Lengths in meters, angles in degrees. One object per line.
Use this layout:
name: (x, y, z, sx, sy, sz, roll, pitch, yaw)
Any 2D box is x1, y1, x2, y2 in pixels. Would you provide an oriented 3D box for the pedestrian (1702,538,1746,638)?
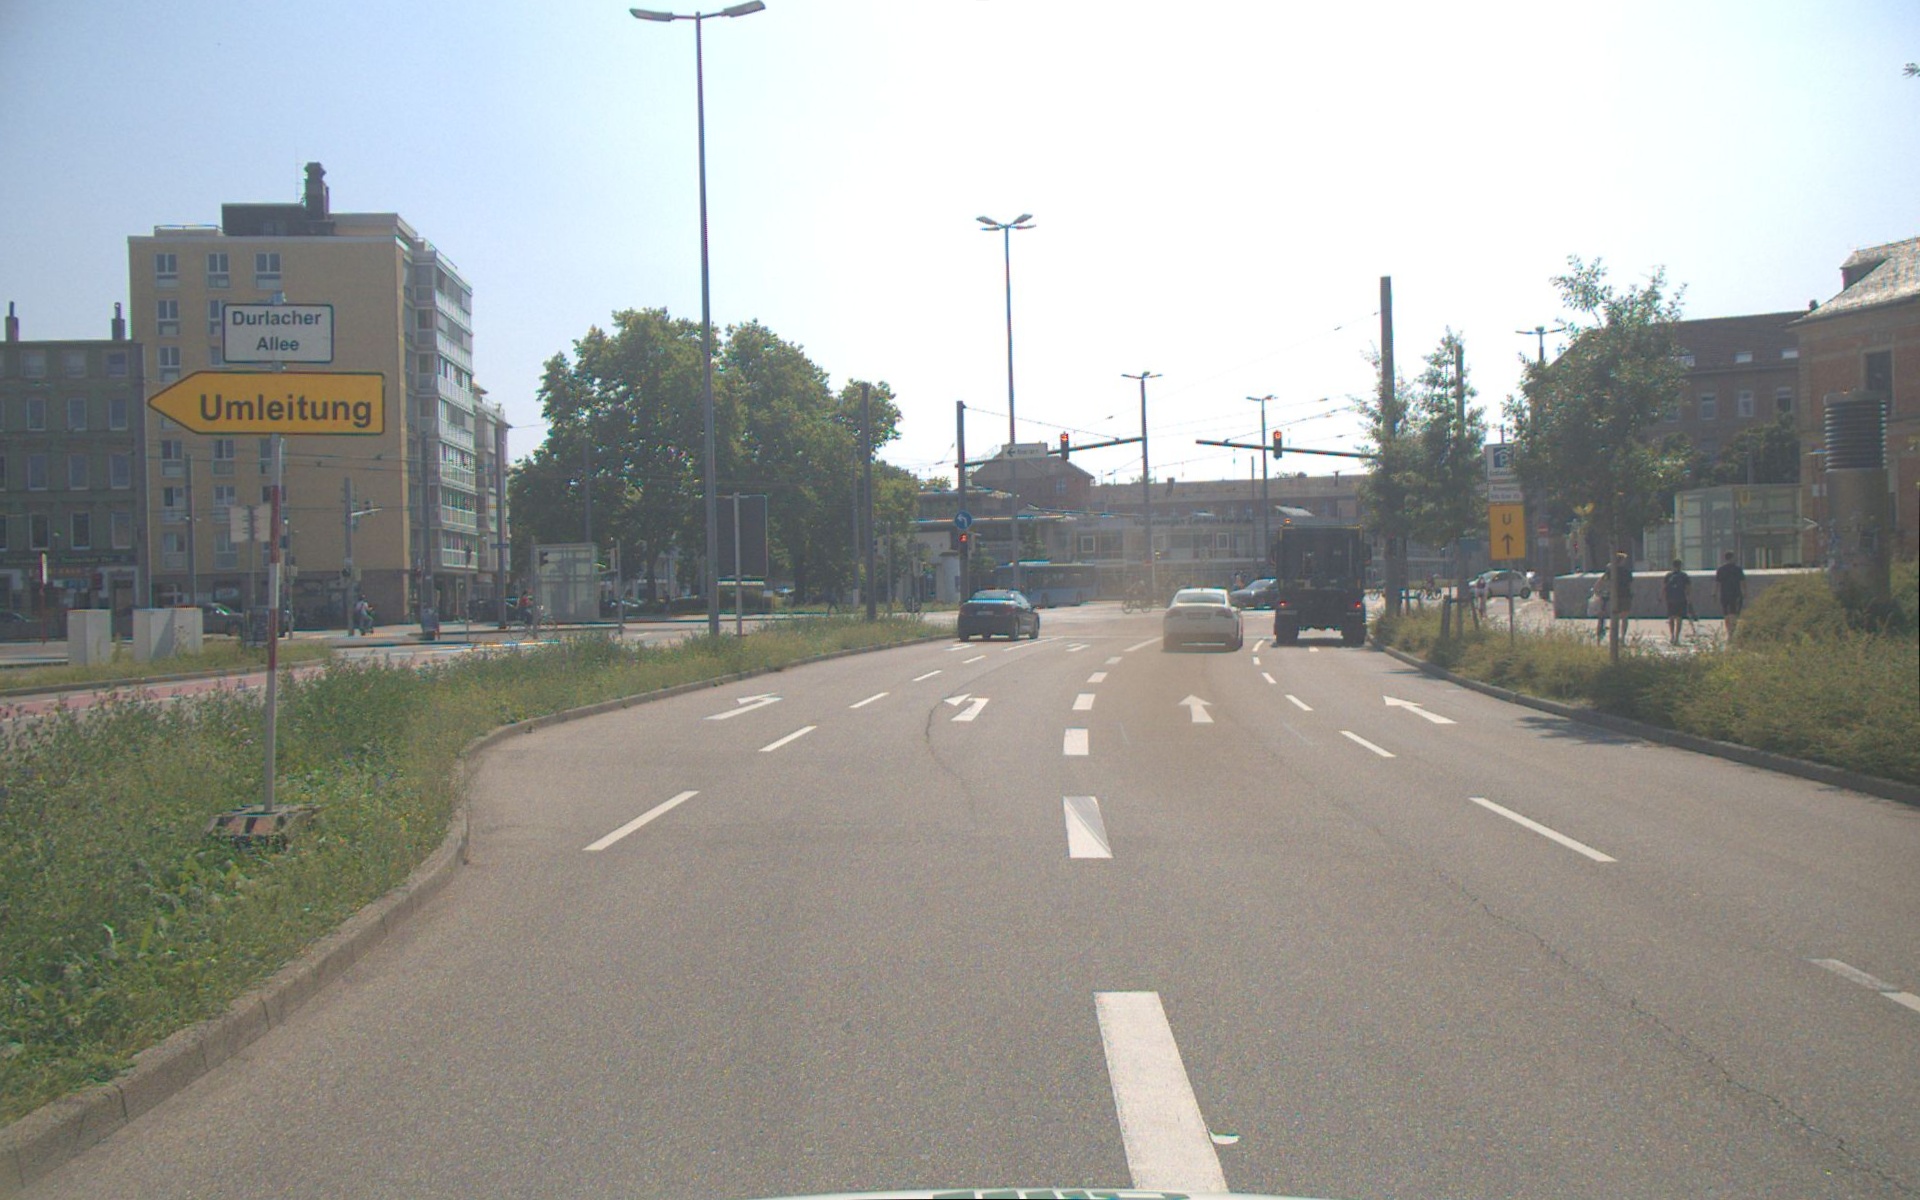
pedestrian: (15.577, -0.245, 33.730, 0.762, 2.007, 0.753, -1, 0, 25)

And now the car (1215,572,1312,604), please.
car: (15.158, -0.618, 82.522, 4.498, 1.463, 1.982, -2, 0, -28)

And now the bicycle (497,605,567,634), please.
bicycle: (-15.345, 0.691, 59.363, 2.363, 0.970, 0.603, -2, 0, -7)

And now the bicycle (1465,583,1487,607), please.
bicycle: (18.063, -0.179, 57.918, 0.660, 0.790, 2.129, -2, 0, 16)

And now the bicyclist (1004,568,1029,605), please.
bicyclist: (2.605, -0.630, 76.337, 0.958, 1.683, 0.658, -2, 0, -22)

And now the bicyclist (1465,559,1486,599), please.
bicyclist: (18.020, -0.735, 57.824, 0.660, 1.343, 0.684, -2, 0, 16)

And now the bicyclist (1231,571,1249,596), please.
bicyclist: (17.217, -1.000, 101.690, 0.886, 1.527, 0.863, -2, 0, -8)

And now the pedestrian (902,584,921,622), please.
pedestrian: (-1.695, 0.086, 57.891, 0.584, 1.290, 0.504, -2, 3, -7)

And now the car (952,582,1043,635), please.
car: (1.116, 0.216, 47.177, 1.720, 1.429, 3.984, 0, 1, 15)

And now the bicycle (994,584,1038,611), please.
bicycle: (2.581, -0.118, 76.434, 0.958, 1.199, 2.813, -2, 1, -21)

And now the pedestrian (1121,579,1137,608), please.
pedestrian: (10.497, -0.393, 102.788, 0.768, 1.782, 0.808, -1, 0, 26)

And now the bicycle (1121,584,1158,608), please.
bicycle: (8.767, -0.198, 80.814, 0.686, 1.156, 2.031, -1, 1, 43)

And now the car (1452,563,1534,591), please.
car: (29.196, -1.252, 90.627, 3.985, 1.450, 1.769, -2, 0, -14)

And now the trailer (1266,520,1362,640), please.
trailer: (9.780, -0.572, 45.737, 2.410, 3.060, 6.331, 0, 1, 12)

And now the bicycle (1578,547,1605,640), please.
bicycle: (13.088, -0.142, 34.256, 0.446, 1.892, 1.363, -1, 1, 22)

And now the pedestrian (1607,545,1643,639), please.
pedestrian: (13.730, -0.169, 34.154, 0.646, 1.892, 0.793, -1, 0, 23)

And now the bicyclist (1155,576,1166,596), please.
bicyclist: (12.038, -0.853, 99.152, 0.493, 1.209, 0.506, -1, 0, 27)

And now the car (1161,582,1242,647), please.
car: (6.016, 0.317, 40.852, 1.720, 1.480, 4.430, 0, 1, 12)

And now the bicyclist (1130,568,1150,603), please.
bicyclist: (8.795, -0.707, 80.860, 0.681, 1.678, 0.615, -1, 0, 43)

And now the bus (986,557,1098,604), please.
bus: (5.727, -1.388, 112.855, 2.994, 2.982, 11.839, -1, 1, 27)

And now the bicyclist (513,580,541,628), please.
bicyclist: (-15.533, 0.136, 59.351, 0.823, 1.671, 0.606, -1, 0, -7)

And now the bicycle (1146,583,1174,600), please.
bicycle: (12.001, -0.511, 99.177, 1.560, 1.002, 0.506, -1, 0, 28)

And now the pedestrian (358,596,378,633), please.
pedestrian: (-27.056, 0.652, 75.648, 0.636, 1.661, 0.813, -2, 0, -6)

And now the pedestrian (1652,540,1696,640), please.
pedestrian: (14.568, -0.211, 33.750, 0.762, 2.007, 0.753, -1, 0, 25)

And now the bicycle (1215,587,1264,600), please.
bicycle: (17.177, -0.409, 101.693, 2.880, 0.740, 0.863, -2, 0, -8)
